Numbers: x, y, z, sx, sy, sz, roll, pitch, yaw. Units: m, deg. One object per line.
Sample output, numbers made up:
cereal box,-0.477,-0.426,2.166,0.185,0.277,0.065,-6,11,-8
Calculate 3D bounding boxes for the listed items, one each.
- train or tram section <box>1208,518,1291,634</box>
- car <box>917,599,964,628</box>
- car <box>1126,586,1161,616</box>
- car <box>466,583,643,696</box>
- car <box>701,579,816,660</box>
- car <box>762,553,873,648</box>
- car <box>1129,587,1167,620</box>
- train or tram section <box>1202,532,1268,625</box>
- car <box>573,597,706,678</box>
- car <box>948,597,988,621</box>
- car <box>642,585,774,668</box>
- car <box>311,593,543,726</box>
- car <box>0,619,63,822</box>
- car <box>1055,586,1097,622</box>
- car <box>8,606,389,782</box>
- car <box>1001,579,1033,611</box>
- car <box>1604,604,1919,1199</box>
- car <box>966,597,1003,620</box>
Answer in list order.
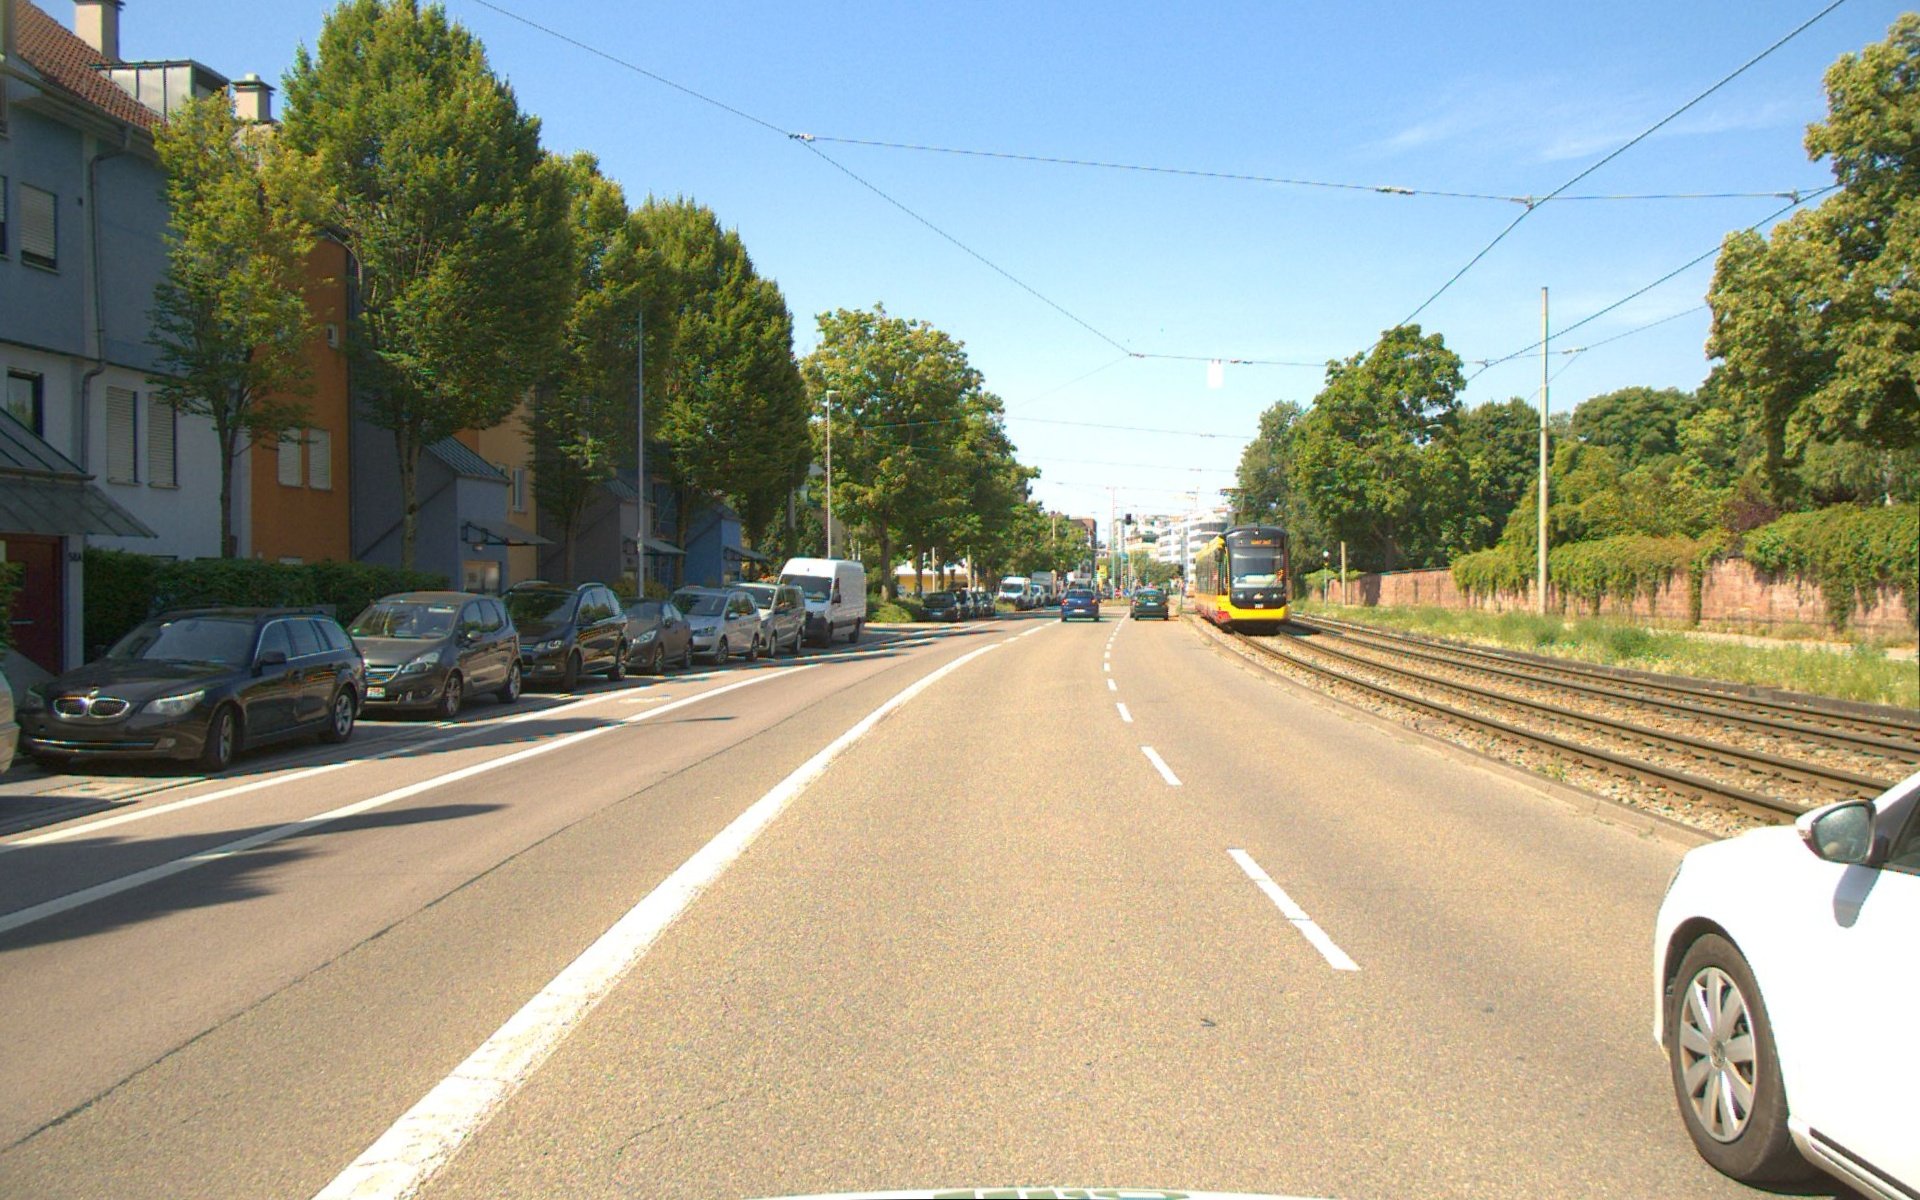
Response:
train or tram section,10.635,-0.838,61.710,2.458,3.812,13.321,-1,0,7
car,-0.976,0.662,83.449,1.663,1.442,4.004,-1,0,10
car,9.696,0.024,87.538,1.762,1.485,4.003,1,1,6
car,-6.927,0.613,28.783,1.733,1.753,4.871,2,0,1
car,-5.415,0.497,45.150,1.879,1.982,5.358,2,0,6
car,-4.445,0.019,52.993,1.952,2.761,7.162,2,0,7
car,9.135,0.168,80.382,1.762,1.533,4.003,1,1,6
train or tram section,12.309,-0.935,74.885,2.458,3.812,13.321,-1,0,7
car,-6.553,0.718,34.256,1.655,1.500,4.050,2,0,4
car,0.499,0.513,96.338,1.663,1.376,4.004,-1,0,10
car,-5.907,0.581,39.387,1.762,1.754,4.913,3,0,7
car,-7.341,0.746,23.251,1.681,1.653,4.314,1,0,2
car,-8.061,0.895,10.833,1.744,1.509,4.856,1,0,-1
car,5.310,0.164,75.318,1.762,1.533,4.003,1,1,6
car,-7.656,0.855,17.209,1.687,1.500,4.715,1,0,1
car,4.523,-0.403,130.360,1.840,2.458,5.120,-1,0,10
car,2.857,0.769,2.954,1.657,1.476,4.458,0,0,0
car,1.544,0.493,101.559,1.663,1.376,4.004,-1,0,10
